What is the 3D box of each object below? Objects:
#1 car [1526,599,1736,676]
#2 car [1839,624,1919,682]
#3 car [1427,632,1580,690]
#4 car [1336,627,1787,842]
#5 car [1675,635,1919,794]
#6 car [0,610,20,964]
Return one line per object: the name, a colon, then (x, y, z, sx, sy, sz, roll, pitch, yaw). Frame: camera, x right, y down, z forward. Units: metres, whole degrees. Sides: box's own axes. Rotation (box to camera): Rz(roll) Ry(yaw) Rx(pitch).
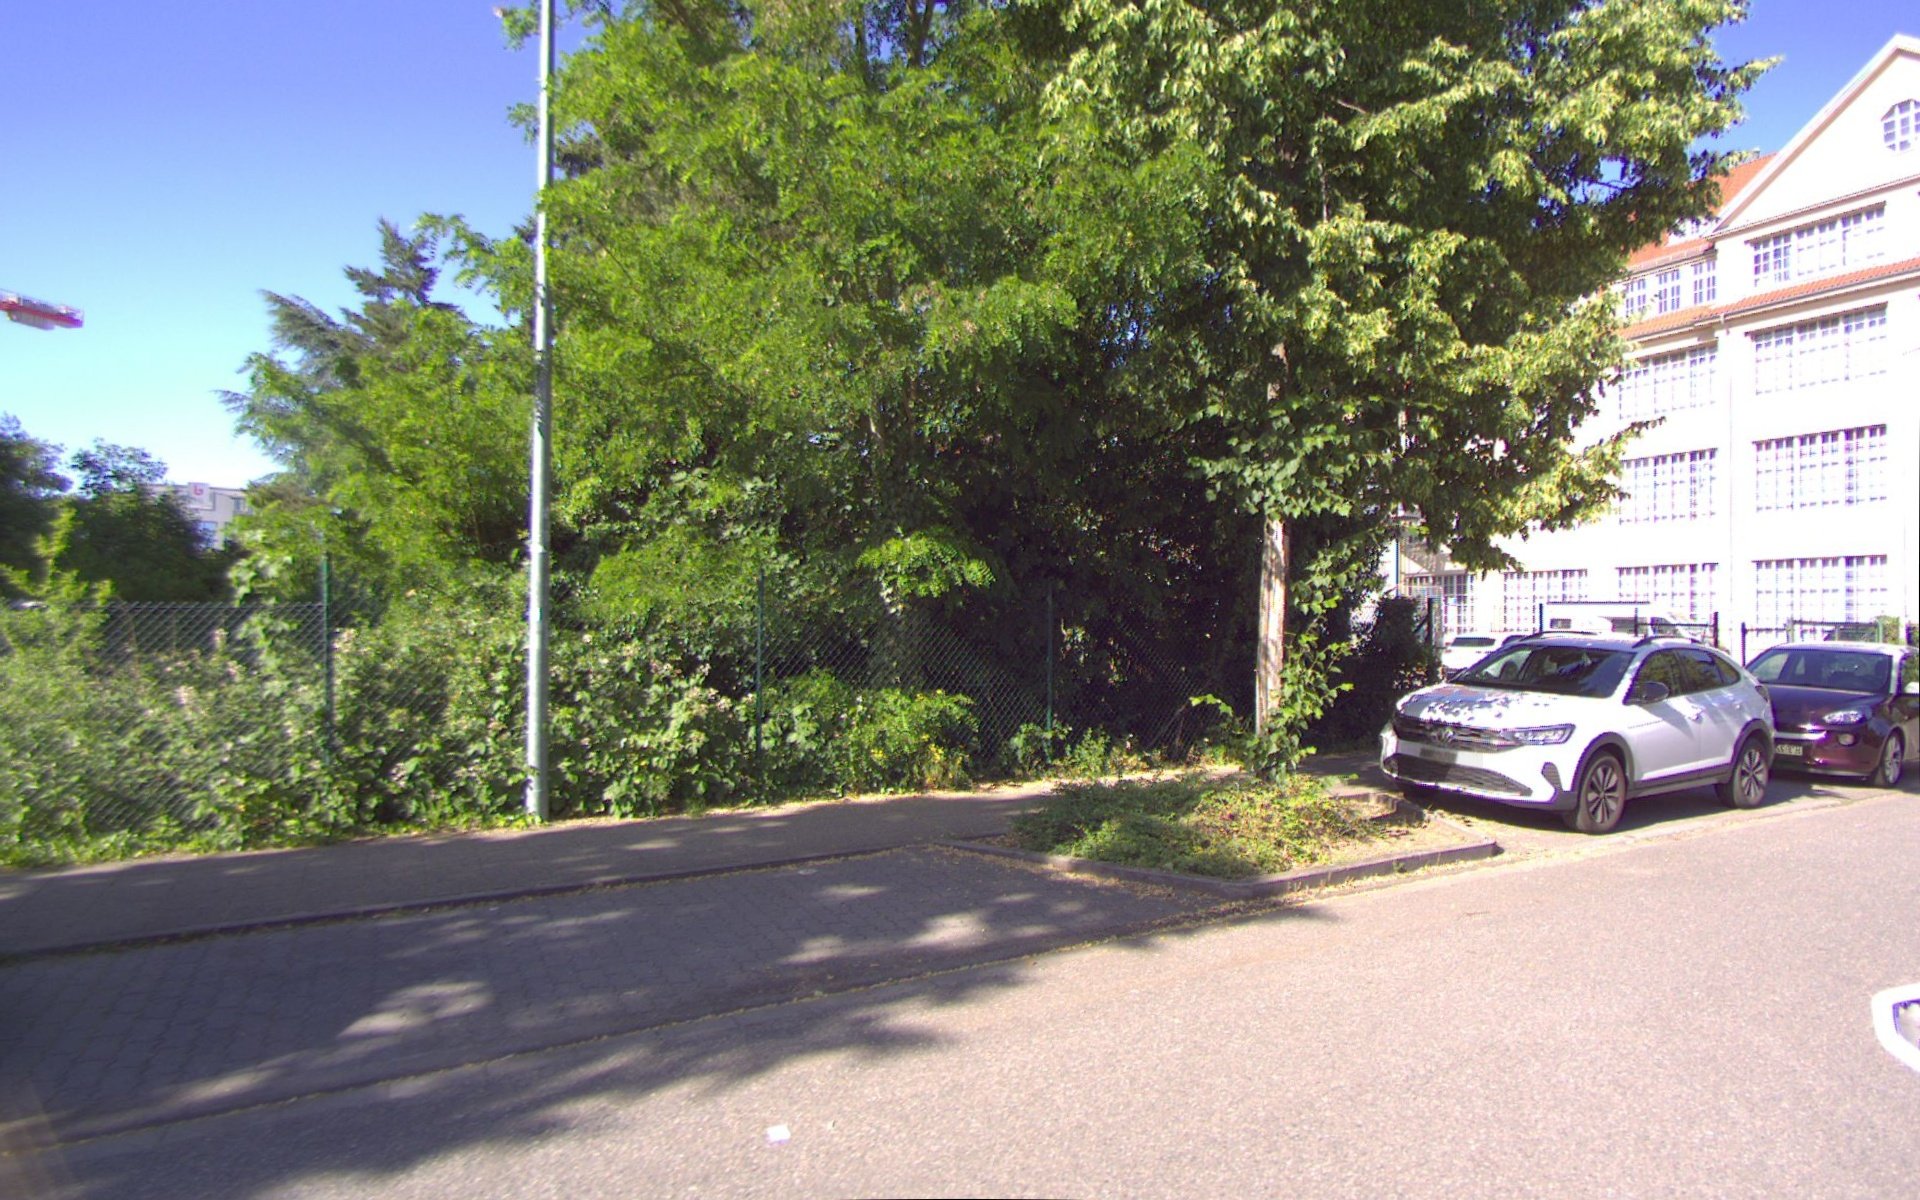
car: (24.865, 1.374, 37.531, 2.140, 2.631, 6.232, 1, -2, -31)
car: (29.406, 1.595, 30.199, 1.975, 1.718, 4.073, 2, -2, -28)
car: (16.375, 1.787, 30.235, 4.370, 1.631, 1.986, 1, -2, -28)
car: (5.503, 1.060, 9.103, 3.956, 1.493, 1.831, 2, 0, -31)
car: (10.056, 1.211, 11.610, 3.508, 1.493, 1.708, 2, 0, -32)
car: (-5.491, 0.736, 2.450, 4.309, 1.493, 1.831, 2, 0, -31)
